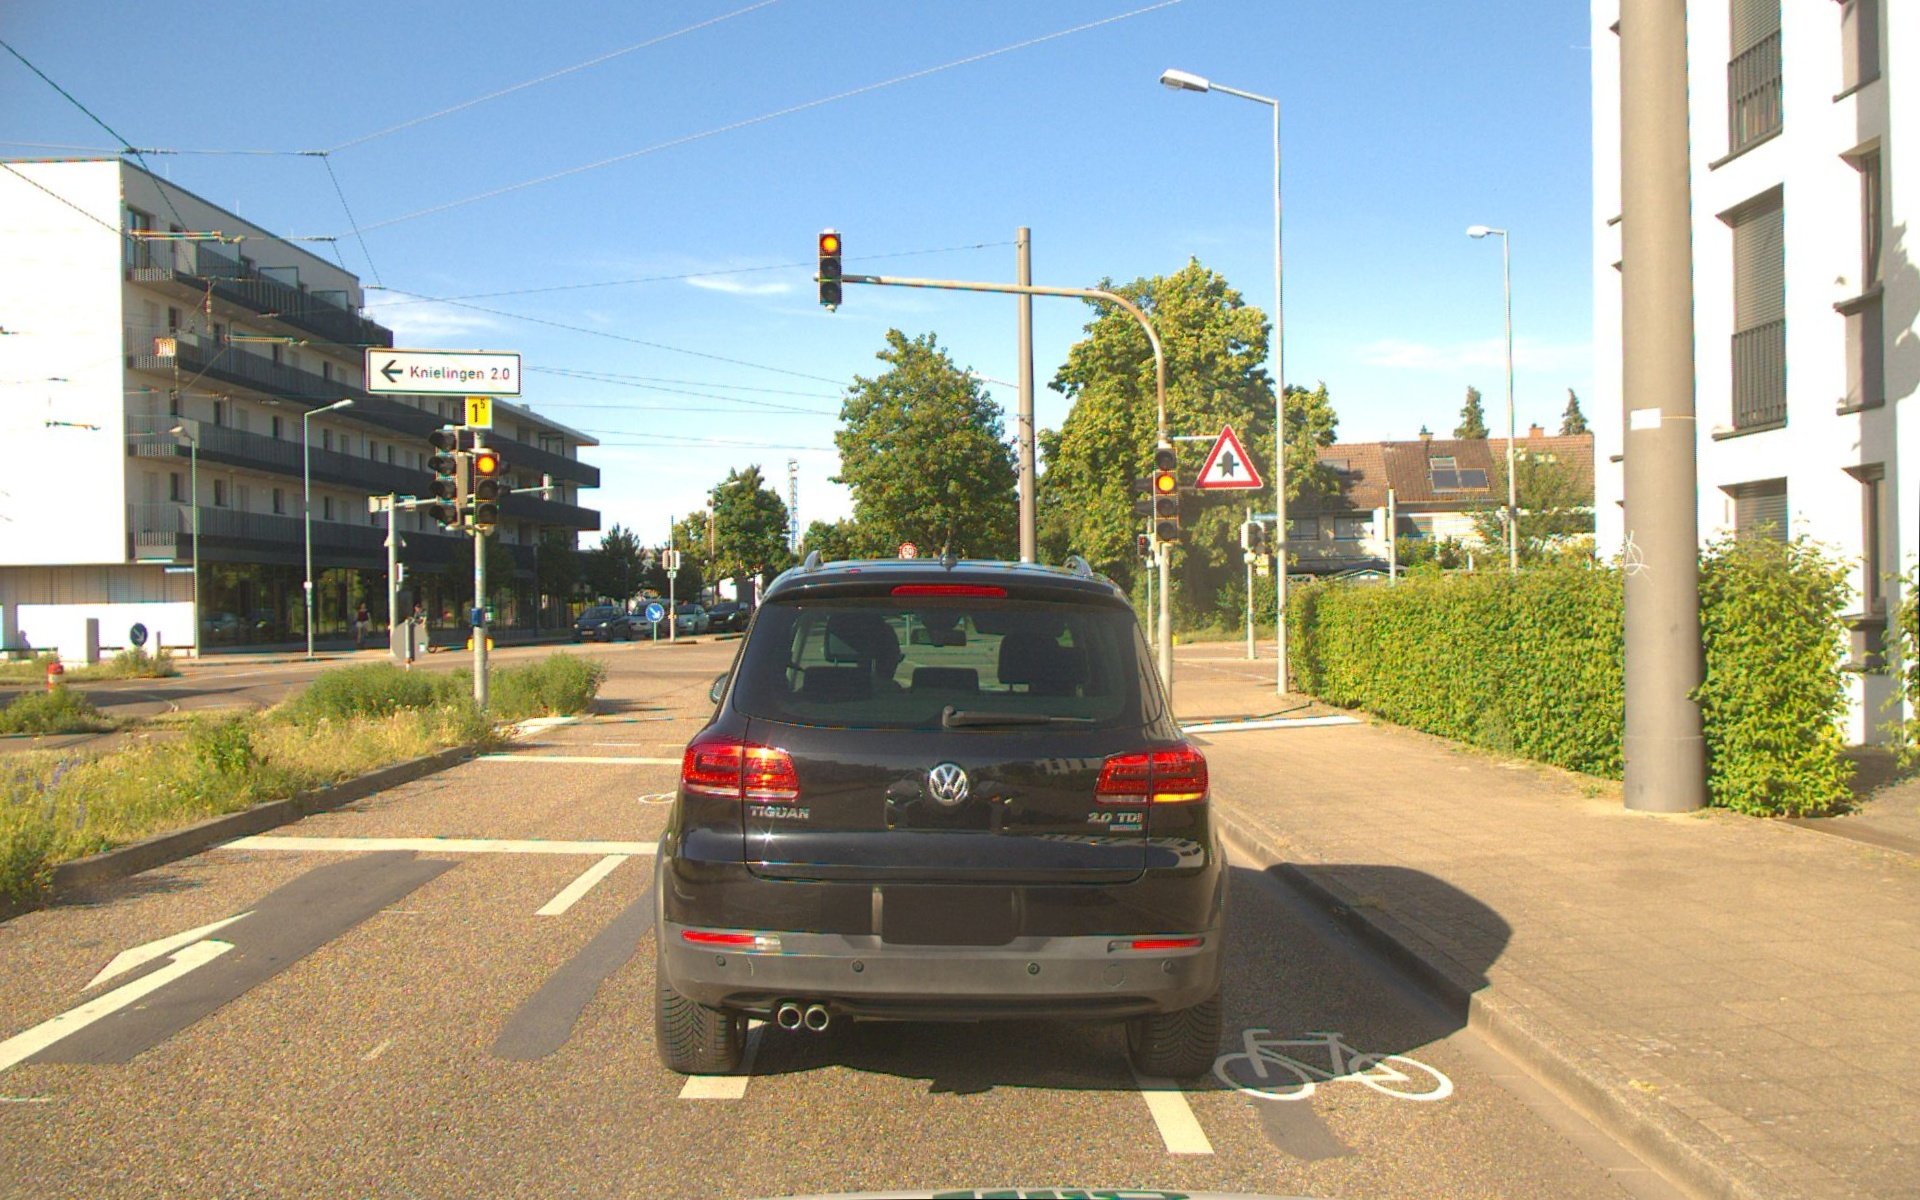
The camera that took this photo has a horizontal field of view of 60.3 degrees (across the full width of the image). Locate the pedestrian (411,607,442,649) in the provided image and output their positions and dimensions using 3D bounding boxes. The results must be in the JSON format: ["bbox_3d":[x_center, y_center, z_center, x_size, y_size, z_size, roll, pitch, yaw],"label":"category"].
[{"bbox_3d":[-19.188,0.995,59.520,0.696,1.499,0.954,1,0,6],"label":"pedestrian"}]

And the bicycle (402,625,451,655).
[{"bbox_3d":[-19.196,1.424,59.556,0.755,1.006,2.434,1,0,6],"label":"bicycle"}]

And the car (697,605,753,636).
[{"bbox_3d":[-12.832,1.111,90.633,1.951,1.601,4.342,1,0,7],"label":"car"}]

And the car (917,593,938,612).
[{"bbox_3d":[-3.128,0.222,158.844,1.825,1.750,3.687,-1,0,1],"label":"car"}]

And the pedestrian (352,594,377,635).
[{"bbox_3d":[-22.315,0.536,61.991,0.629,1.535,0.596,1,-1,7],"label":"pedestrian"}]

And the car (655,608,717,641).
[{"bbox_3d":[-13.851,1.225,83.900,1.951,1.601,4.342,1,0,7],"label":"car"}]

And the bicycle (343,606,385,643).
[{"bbox_3d":[-22.320,0.899,61.965,0.617,1.355,1.914,1,0,8],"label":"bicycle"}]

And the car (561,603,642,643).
[{"bbox_3d":[-15.376,0.975,71.231,1.951,1.601,4.343,1,0,9],"label":"car"}]

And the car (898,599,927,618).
[{"bbox_3d":[-3.949,0.693,137.595,1.824,1.511,4.113,-1,0,7],"label":"car"}]

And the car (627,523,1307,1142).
[{"bbox_3d":[-0.004,0.646,6.516,1.831,1.666,3.999,1,0,-1],"label":"car"}]

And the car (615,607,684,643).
[{"bbox_3d":[-14.619,1.145,78.027,1.951,1.601,4.342,1,0,7],"label":"car"}]
